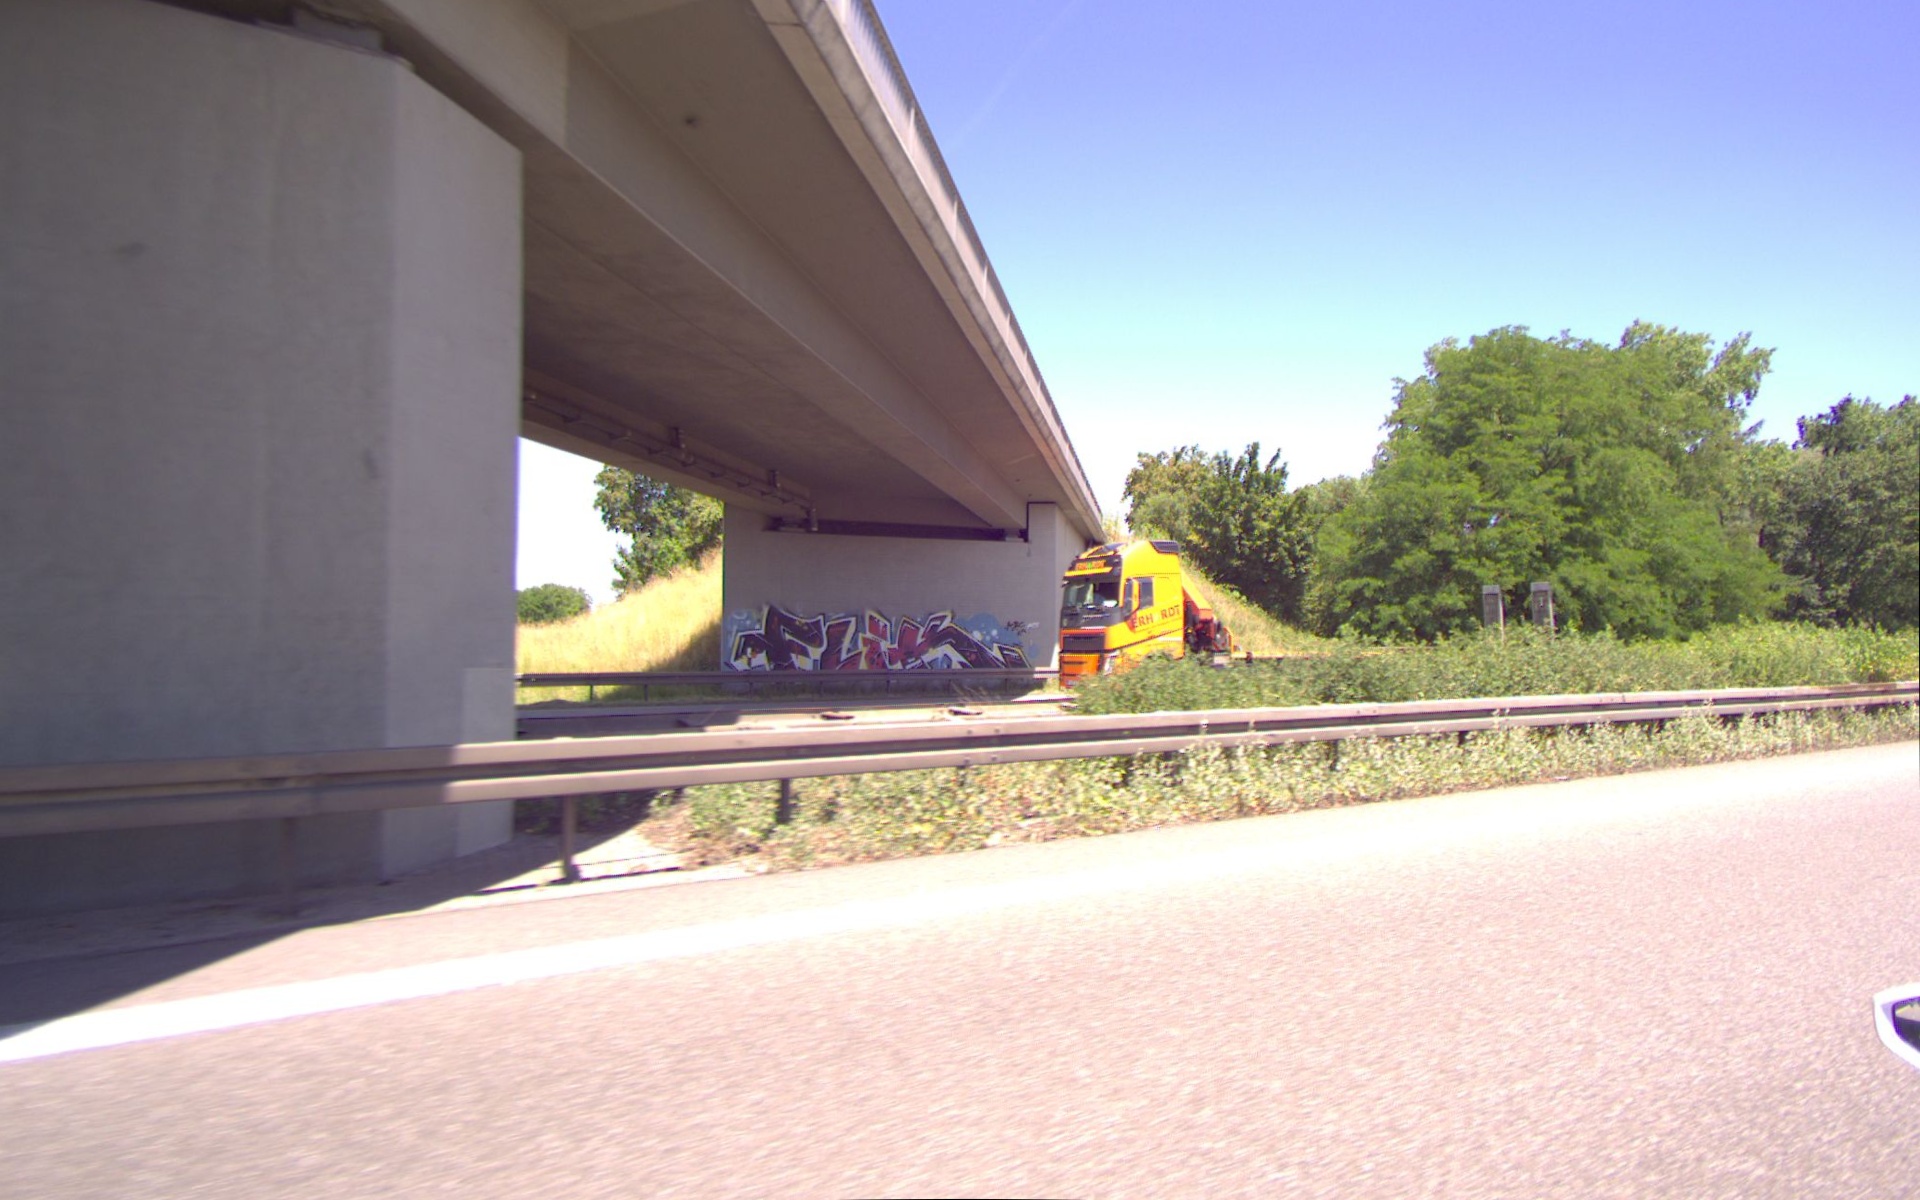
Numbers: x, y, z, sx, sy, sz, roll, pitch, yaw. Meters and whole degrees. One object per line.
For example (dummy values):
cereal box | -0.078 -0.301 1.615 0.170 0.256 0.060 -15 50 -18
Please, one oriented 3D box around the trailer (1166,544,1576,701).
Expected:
trailer | 12.932 0.699 30.188 15.401 3.936 2.599 1 0 -31

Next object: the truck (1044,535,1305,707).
truck | 5.573 0.524 25.804 6.424 3.950 2.599 1 0 -31
